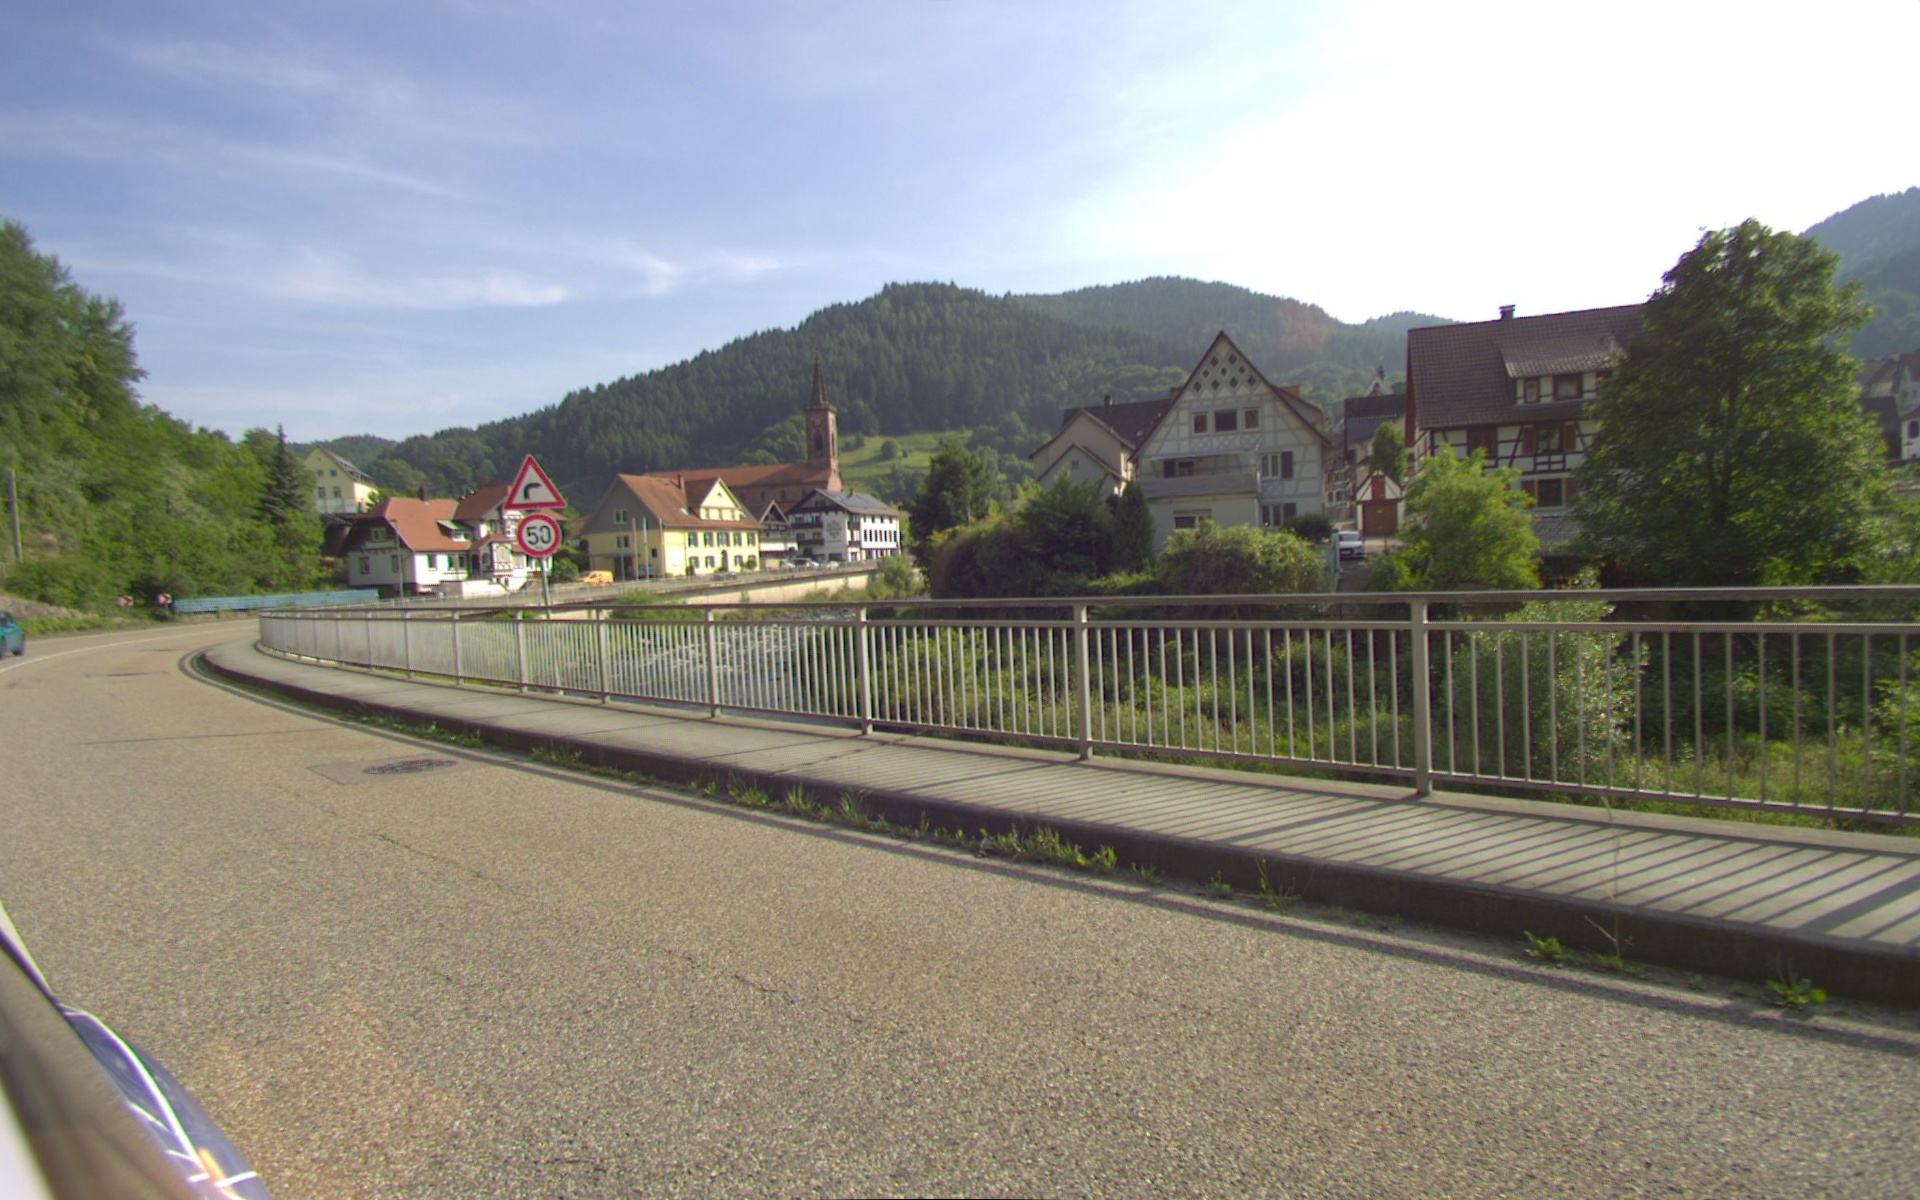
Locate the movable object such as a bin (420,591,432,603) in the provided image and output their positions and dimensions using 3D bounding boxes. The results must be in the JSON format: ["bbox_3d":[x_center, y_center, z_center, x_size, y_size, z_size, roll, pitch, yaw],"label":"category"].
[{"bbox_3d":[-48.368,-0.283,91.673,0.474,1.070,0.749,-2,2,16],"label":"movable object such as a bin"}]

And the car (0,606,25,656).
[{"bbox_3d":[-30.968,1.003,31.746,1.656,1.533,3.877,-2,1,-32],"label":"car"}]

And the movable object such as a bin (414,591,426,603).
[{"bbox_3d":[-48.958,-0.265,91.790,0.474,1.070,0.749,-2,2,16],"label":"movable object such as a bin"}]

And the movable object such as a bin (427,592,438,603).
[{"bbox_3d":[-47.533,-0.245,91.164,0.469,0.943,0.649,-2,2,16],"label":"movable object such as a bin"}]

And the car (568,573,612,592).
[{"bbox_3d":[-41.455,-1.975,113.431,1.901,2.012,4.802,-2,1,20],"label":"car"}]
